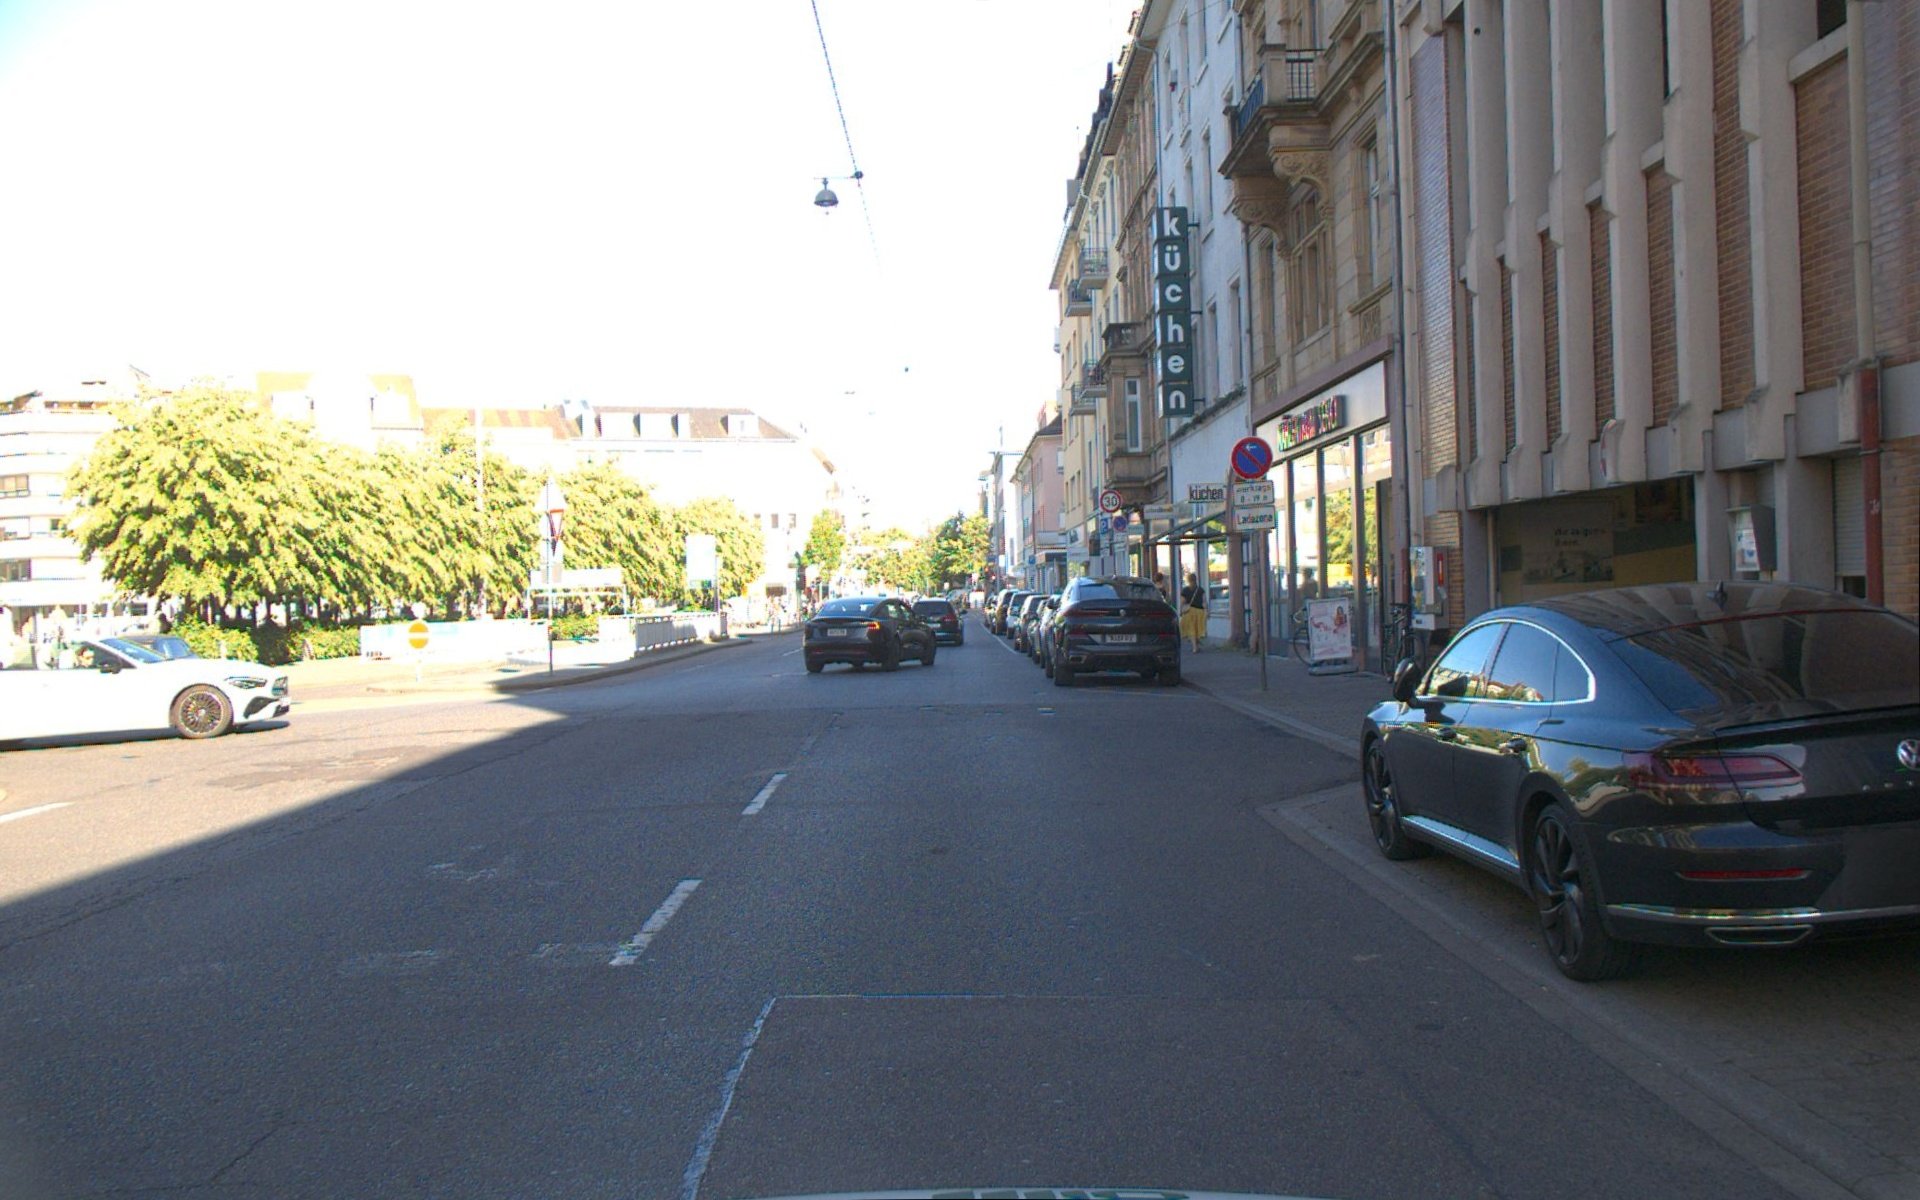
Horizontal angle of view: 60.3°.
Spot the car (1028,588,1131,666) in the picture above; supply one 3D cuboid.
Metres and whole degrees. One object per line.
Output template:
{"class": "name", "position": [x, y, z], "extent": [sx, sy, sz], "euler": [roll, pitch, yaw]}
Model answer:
{"class": "car", "position": [2.411, 0.504, 34.192], "extent": [1.801, 1.513, 4.184], "euler": [0, 0, 0]}

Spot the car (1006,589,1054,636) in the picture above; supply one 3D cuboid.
{"class": "car", "position": [2.404, 0.402, 57.348], "extent": [1.580, 1.573, 2.855], "euler": [0, 0, 1]}

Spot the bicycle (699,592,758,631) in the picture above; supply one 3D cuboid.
{"class": "bicycle", "position": [-12.688, 0.638, 90.608], "extent": [3.054, 2.049, 0.909], "euler": [-1, 0, 8]}

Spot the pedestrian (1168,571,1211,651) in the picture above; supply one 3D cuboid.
{"class": "pedestrian", "position": [5.010, 0.237, 36.091], "extent": [0.784, 1.704, 0.589], "euler": [-3, 0, 2]}

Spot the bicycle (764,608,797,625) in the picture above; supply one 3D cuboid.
{"class": "bicycle", "position": [-11.184, 1.016, 103.097], "extent": [1.972, 1.040, 0.761], "euler": [-1, 0, -4]}

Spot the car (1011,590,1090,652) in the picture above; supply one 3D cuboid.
{"class": "car", "position": [2.384, 0.518, 44.298], "extent": [1.801, 1.573, 4.227], "euler": [0, 0, -1]}

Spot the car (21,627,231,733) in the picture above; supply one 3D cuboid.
{"class": "car", "position": [-14.280, 1.305, 28.624], "extent": [1.715, 1.447, 4.532], "euler": [-2, 1, -7]}

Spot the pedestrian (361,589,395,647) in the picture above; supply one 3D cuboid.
{"class": "pedestrian", "position": [-22.027, 0.673, 62.592], "extent": [0.717, 2.145, 0.967], "euler": [-1, 0, 22]}

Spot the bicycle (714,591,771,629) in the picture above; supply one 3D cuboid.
{"class": "bicycle", "position": [-12.334, 0.563, 93.779], "extent": [3.054, 2.049, 0.909], "euler": [-1, 0, 8]}

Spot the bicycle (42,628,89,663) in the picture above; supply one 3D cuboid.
{"class": "bicycle", "position": [-42.287, 2.141, 78.197], "extent": [0.945, 1.529, 2.685], "euler": [-1, 0, -6]}

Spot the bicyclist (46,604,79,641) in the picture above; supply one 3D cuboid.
{"class": "bicyclist", "position": [-42.287, 1.043, 77.957], "extent": [0.945, 1.730, 1.209], "euler": [-1, 0, -6]}

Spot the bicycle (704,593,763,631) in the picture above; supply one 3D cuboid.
{"class": "bicycle", "position": [-12.529, 0.659, 91.656], "extent": [3.054, 2.049, 0.909], "euler": [-1, 0, 8]}

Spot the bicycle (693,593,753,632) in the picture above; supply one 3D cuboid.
{"class": "bicycle", "position": [-12.818, 0.668, 89.615], "extent": [3.054, 2.049, 0.909], "euler": [-1, 0, 8]}

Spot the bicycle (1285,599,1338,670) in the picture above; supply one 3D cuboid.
{"class": "bicycle", "position": [5.707, 0.541, 26.943], "extent": [0.351, 1.104, 1.941], "euler": [-4, 0, -1]}

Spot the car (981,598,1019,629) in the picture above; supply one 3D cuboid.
{"class": "car", "position": [1.927, 0.668, 80.412], "extent": [1.756, 1.485, 3.867], "euler": [0, -1, 0]}

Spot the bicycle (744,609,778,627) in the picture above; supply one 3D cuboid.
{"class": "bicycle", "position": [-12.117, 1.115, 100.622], "extent": [1.972, 1.040, 0.887], "euler": [-1, 0, -4]}

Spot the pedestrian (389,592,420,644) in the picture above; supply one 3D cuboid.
{"class": "pedestrian", "position": [-23.222, 0.743, 69.166], "extent": [0.717, 2.145, 0.967], "euler": [-1, 0, 22]}

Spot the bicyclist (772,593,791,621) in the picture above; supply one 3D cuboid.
{"class": "bicyclist", "position": [-11.128, 0.436, 103.123], "extent": [1.123, 1.715, 0.819], "euler": [-1, 0, -4]}

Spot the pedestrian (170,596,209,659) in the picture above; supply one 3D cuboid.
{"class": "pedestrian", "position": [-26.655, 0.936, 57.218], "extent": [0.717, 2.145, 0.967], "euler": [-1, 0, 22]}

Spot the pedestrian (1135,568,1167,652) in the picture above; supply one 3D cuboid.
{"class": "pedestrian", "position": [4.151, 0.224, 35.897], "extent": [0.607, 1.797, 0.518], "euler": [-2, 0, 2]}

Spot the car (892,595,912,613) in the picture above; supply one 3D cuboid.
{"class": "car", "position": [-6.252, 0.399, 178.264], "extent": [1.952, 1.803, 4.001], "euler": [0, 1, 1]}

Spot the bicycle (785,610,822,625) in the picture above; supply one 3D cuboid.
{"class": "bicycle", "position": [-9.941, 1.115, 104.977], "extent": [2.197, 0.898, 0.924], "euler": [-1, 0, 3]}

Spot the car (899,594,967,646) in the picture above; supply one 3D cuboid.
{"class": "car", "position": [-0.792, 0.580, 51.275], "extent": [1.895, 1.513, 4.272], "euler": [-1, 0, 1]}

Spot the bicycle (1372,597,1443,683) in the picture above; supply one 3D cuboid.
{"class": "bicycle", "position": [5.900, 0.501, 21.869], "extent": [0.351, 1.063, 1.790], "euler": [-4, 0, -1]}

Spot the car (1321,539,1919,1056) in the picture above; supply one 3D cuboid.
{"class": "car", "position": [3.228, 0.578, 7.677], "extent": [1.879, 1.504, 4.964], "euler": [-5, 0, 0]}

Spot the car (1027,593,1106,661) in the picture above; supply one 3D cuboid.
{"class": "car", "position": [2.434, 0.592, 38.572], "extent": [1.575, 1.474, 3.830], "euler": [0, 0, 0]}

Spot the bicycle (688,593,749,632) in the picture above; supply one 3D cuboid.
{"class": "bicycle", "position": [-12.925, 0.660, 88.658], "extent": [3.054, 2.049, 0.909], "euler": [-1, 0, 8]}

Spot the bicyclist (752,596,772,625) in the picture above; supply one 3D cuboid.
{"class": "bicyclist", "position": [-12.046, 0.631, 100.632], "extent": [1.123, 1.715, 0.918], "euler": [-1, 0, -4]}

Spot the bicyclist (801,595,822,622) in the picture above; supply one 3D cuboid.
{"class": "bicyclist", "position": [-9.424, 0.524, 104.961], "extent": [1.122, 1.715, 0.915], "euler": [-1, 0, 3]}

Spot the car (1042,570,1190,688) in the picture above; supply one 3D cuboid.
{"class": "car", "position": [2.439, 0.416, 27.036], "extent": [1.933, 1.755, 4.823], "euler": [0, 0, 0]}

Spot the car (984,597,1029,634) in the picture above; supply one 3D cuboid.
{"class": "car", "position": [1.940, 0.672, 69.673], "extent": [1.756, 1.485, 4.083], "euler": [0, -1, 0]}

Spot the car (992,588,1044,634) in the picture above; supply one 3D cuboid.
{"class": "car", "position": [2.157, 0.445, 62.870], "extent": [1.682, 1.664, 4.082], "euler": [0, -1, -2]}

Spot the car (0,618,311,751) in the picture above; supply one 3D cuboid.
{"class": "car", "position": [-11.312, 1.105, 21.542], "extent": [5.014, 1.447, 1.993], "euler": [-3, 0, -14]}

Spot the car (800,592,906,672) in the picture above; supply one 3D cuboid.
{"class": "car", "position": [-2.101, 0.637, 33.506], "extent": [1.955, 1.506, 4.493], "euler": [0, -1, -2]}
